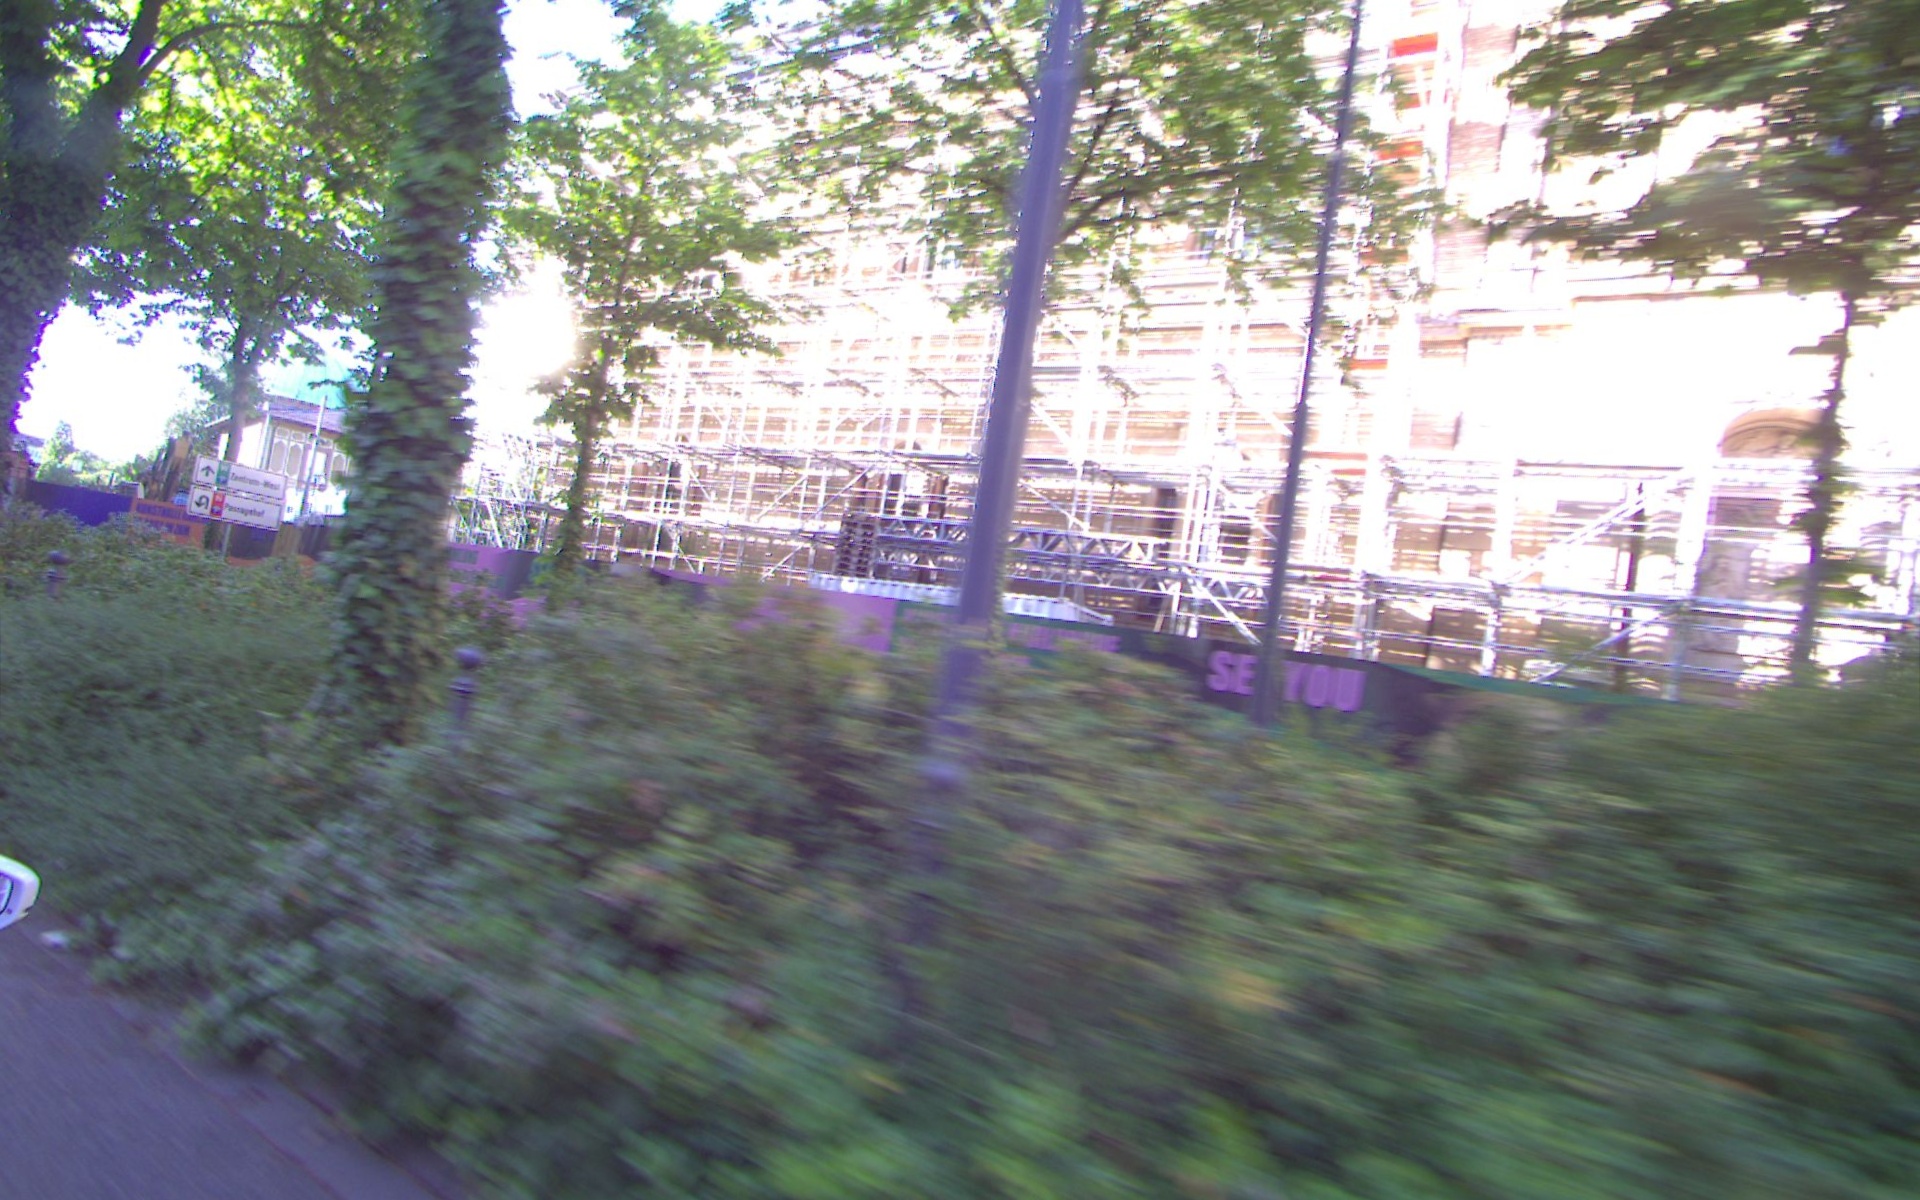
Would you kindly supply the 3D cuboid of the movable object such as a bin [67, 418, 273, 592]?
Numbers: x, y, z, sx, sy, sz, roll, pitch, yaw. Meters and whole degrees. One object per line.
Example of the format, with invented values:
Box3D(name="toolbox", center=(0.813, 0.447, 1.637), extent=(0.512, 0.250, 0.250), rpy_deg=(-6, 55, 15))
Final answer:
Box3D(name="movable object such as a bin", center=(-25.845, -3.071, 32.742), extent=(7.792, 4.589, 3.308), rpy_deg=(6, -3, 40))
